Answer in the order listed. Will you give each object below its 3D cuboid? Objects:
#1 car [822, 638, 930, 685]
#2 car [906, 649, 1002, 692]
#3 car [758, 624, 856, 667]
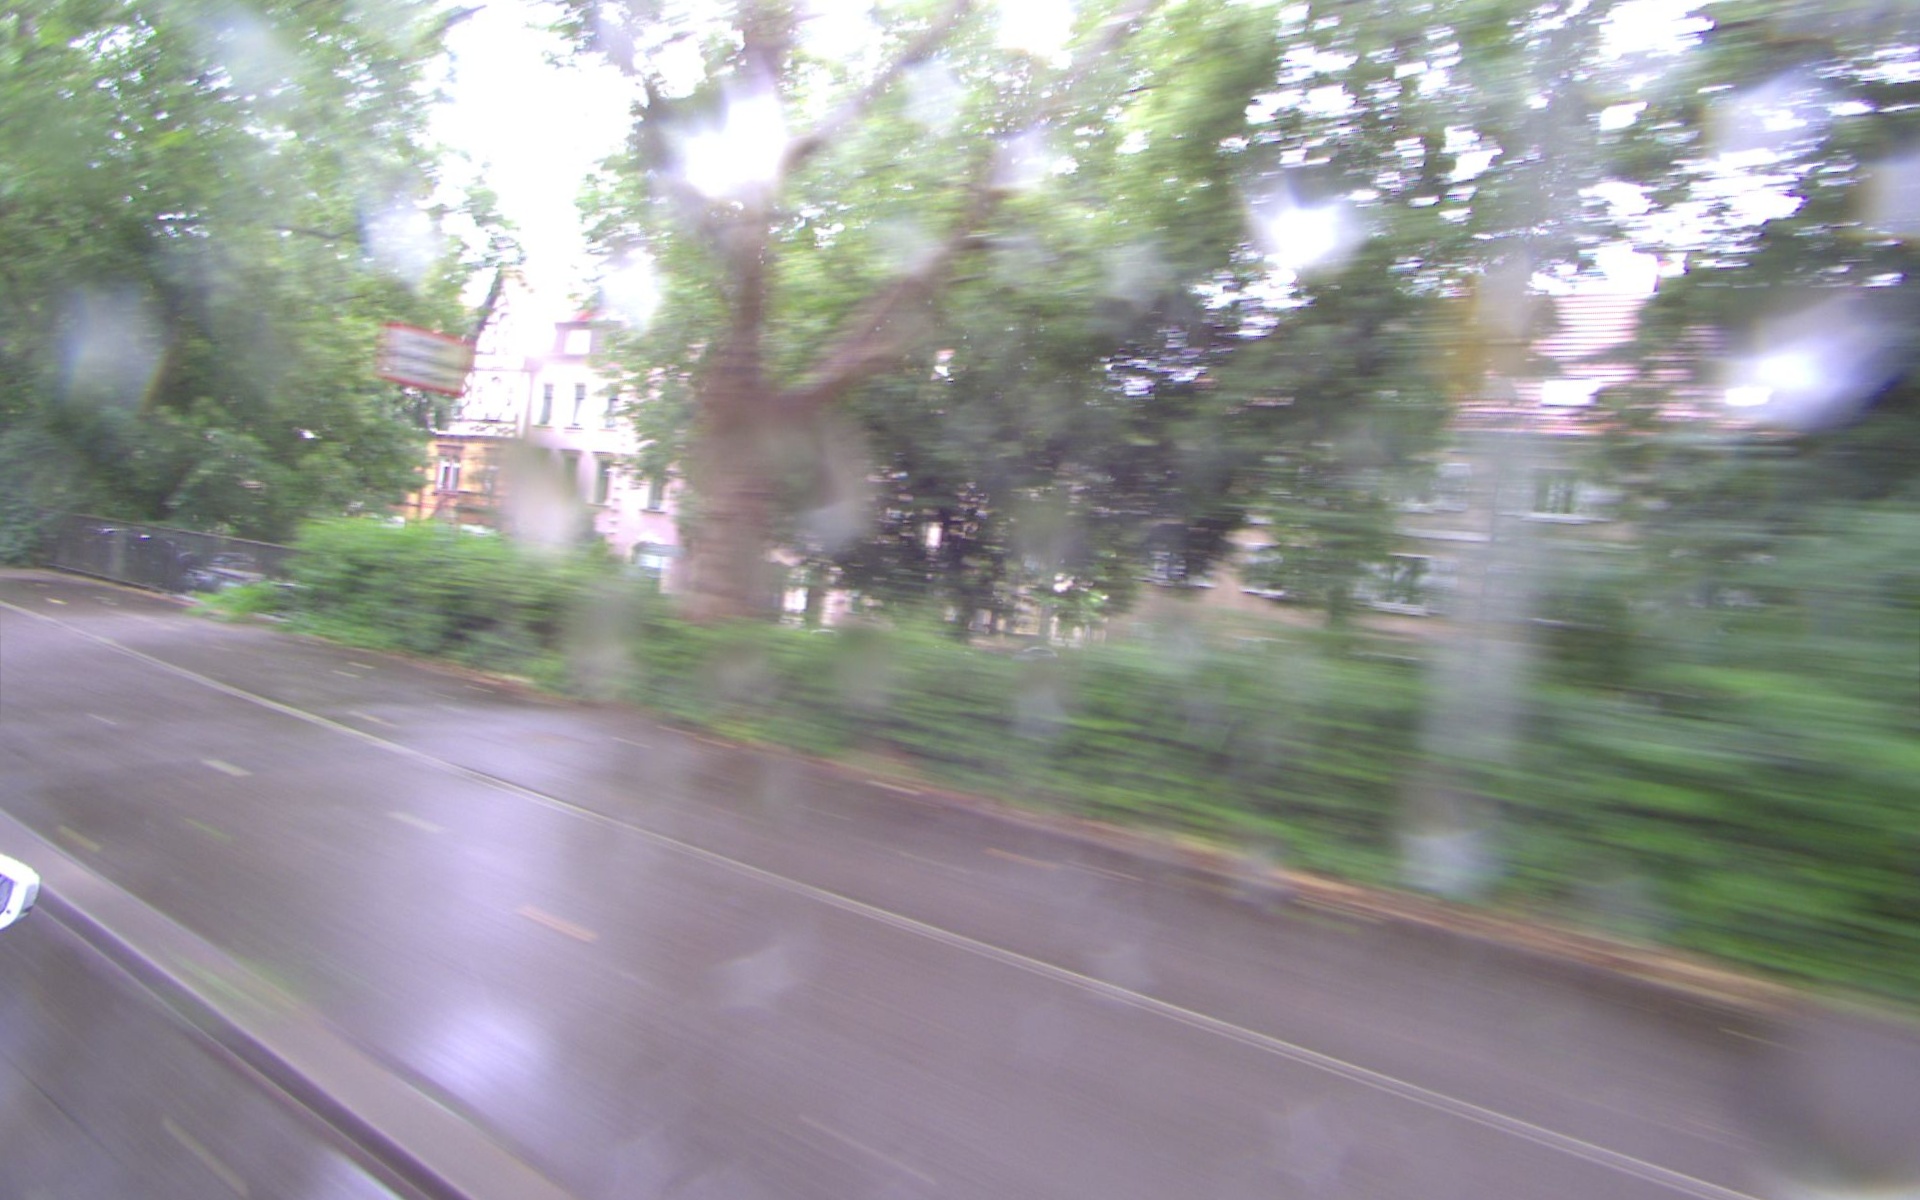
[{"bbox_3d":[-3.157,2.375,38.447,1.898,1.487,3.894,5,-1,38],"label":"car"},{"bbox_3d":[-0.206,2.965,42.069,1.898,1.487,3.894,5,-1,38],"label":"car"},{"bbox_3d":[-6.596,2.004,43.710,1.898,1.529,3.894,5,-1,38],"label":"car"}]
